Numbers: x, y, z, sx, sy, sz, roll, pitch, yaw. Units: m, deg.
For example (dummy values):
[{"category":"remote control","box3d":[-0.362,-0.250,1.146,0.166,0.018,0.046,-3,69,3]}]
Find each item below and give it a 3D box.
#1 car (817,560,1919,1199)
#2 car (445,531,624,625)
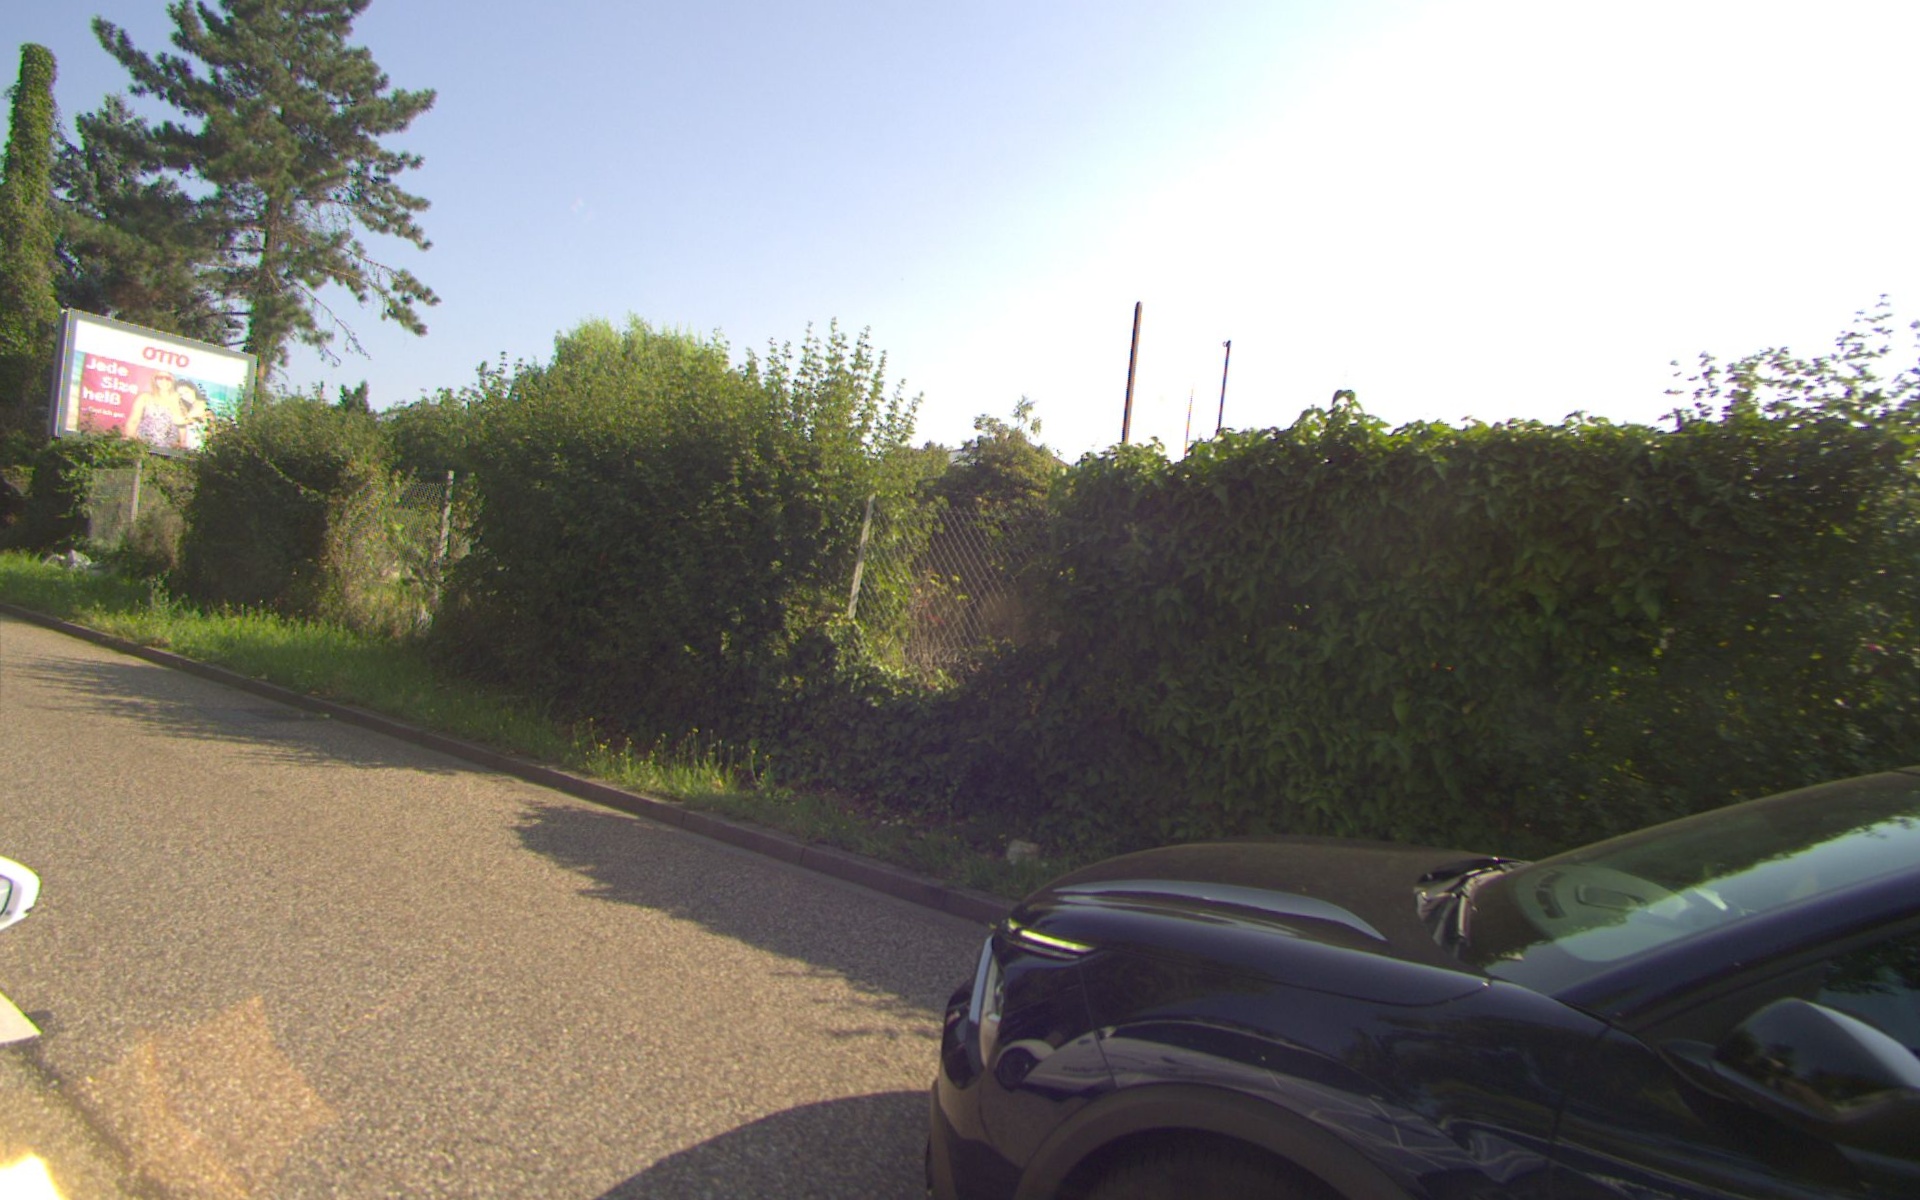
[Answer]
[{"category":"car","box3d":[1.953,0.956,1.601,4.184,1.608,1.647,6,0,32]},{"category":"car","box3d":[-11.269,-0.603,26.572,4.587,1.948,1.750,6,-1,29]}]
